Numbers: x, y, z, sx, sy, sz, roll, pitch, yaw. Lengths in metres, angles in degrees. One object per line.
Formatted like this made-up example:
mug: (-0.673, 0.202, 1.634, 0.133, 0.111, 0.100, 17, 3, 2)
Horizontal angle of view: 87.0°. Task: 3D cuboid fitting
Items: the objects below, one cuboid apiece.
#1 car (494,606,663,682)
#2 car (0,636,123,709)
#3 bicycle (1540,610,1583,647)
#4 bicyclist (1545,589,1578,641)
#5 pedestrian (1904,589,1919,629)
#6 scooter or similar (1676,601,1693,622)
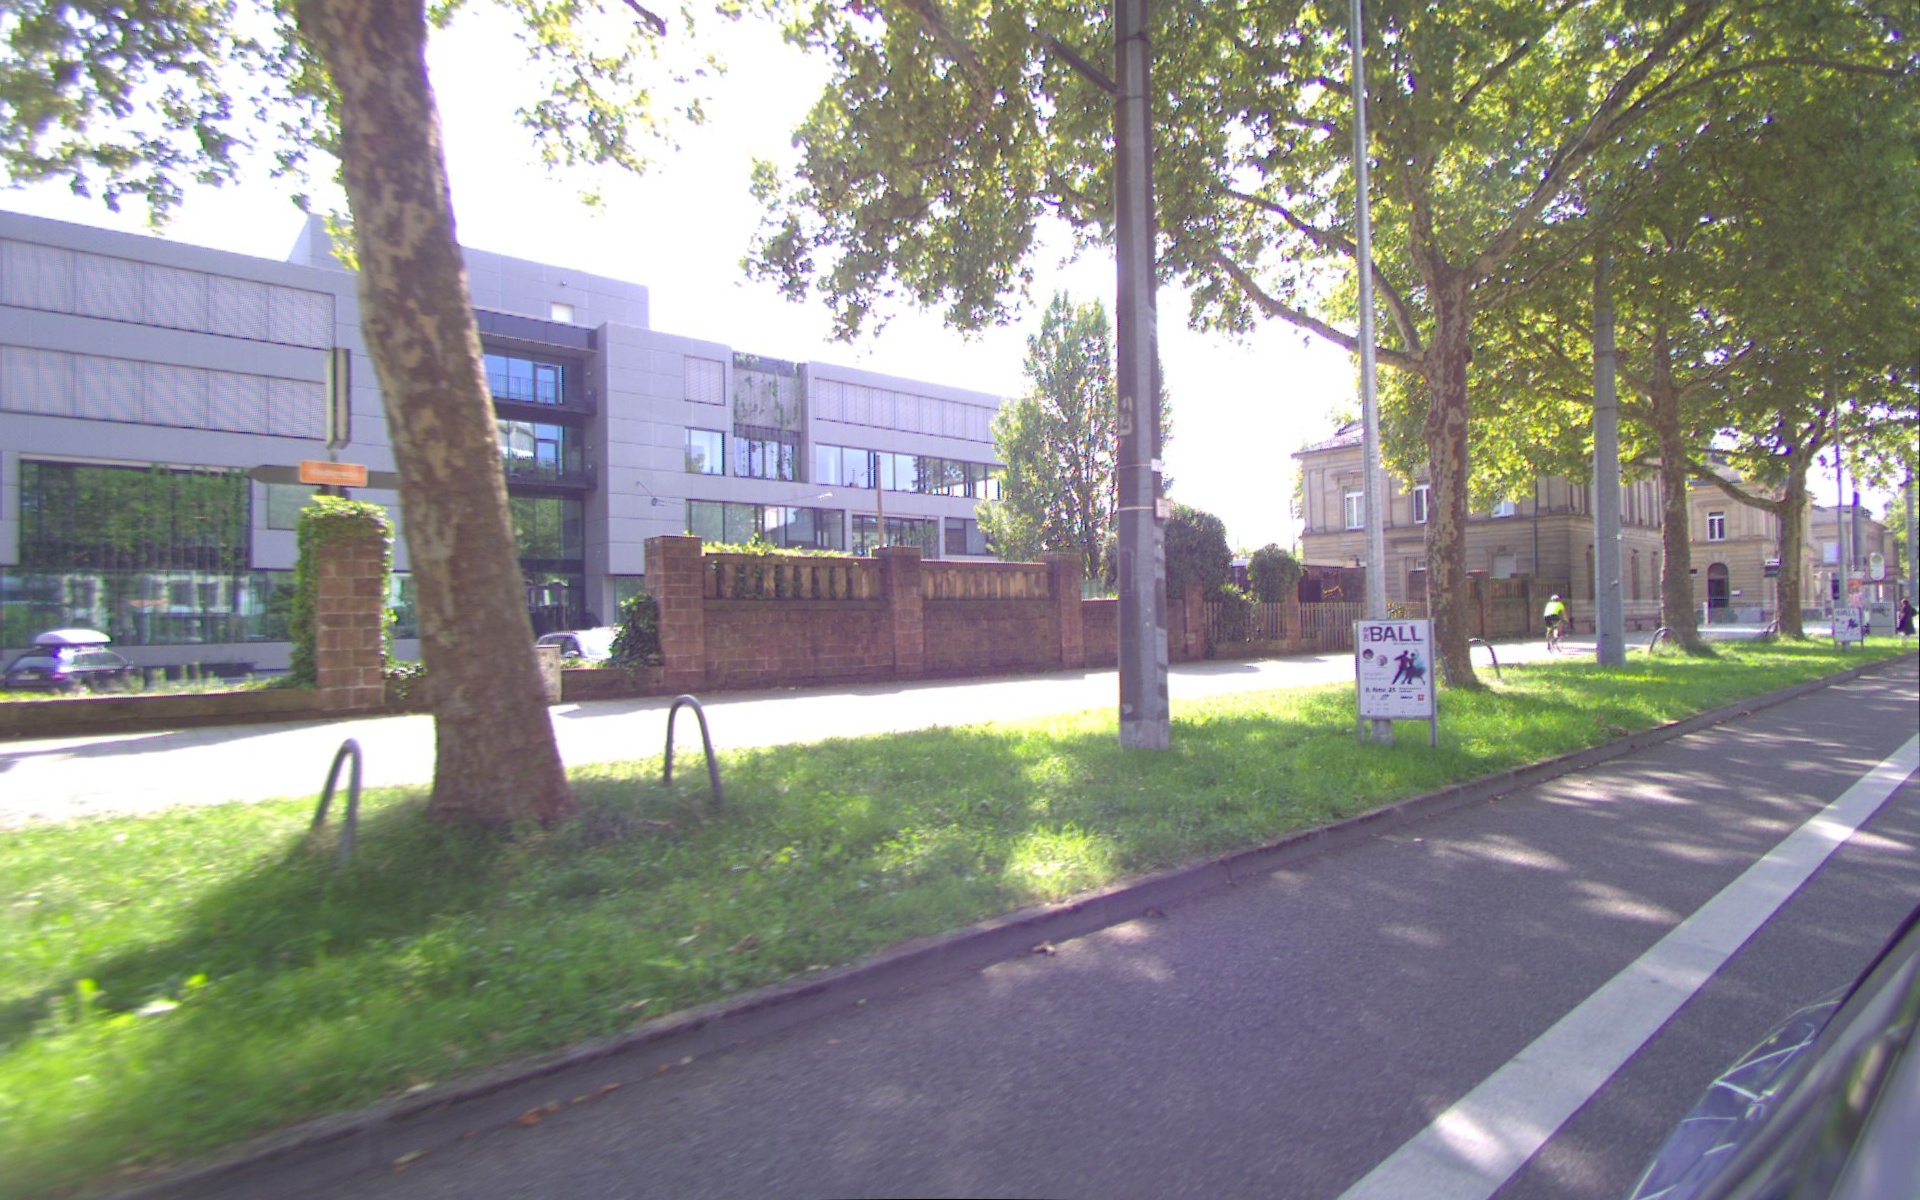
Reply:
car: (-8.151, 0.868, 21.449, 1.967, 1.436, 3.989, 0, -1, -44)
car: (-24.519, 1.894, 27.415, 1.785, 1.629, 3.981, -1, 1, -23)
bicycle: (17.349, 0.802, 29.170, 1.683, 1.020, 0.549, 0, -1, -41)
bicyclist: (17.332, 0.430, 29.167, 0.827, 1.472, 0.549, 0, -1, -41)
pedestrian: (40.032, 0.356, 42.010, 0.871, 1.647, 0.819, -1, -1, 13)
scooter or similar: (41.822, 0.664, 58.414, 1.203, 1.181, 0.410, 0, -1, -37)
